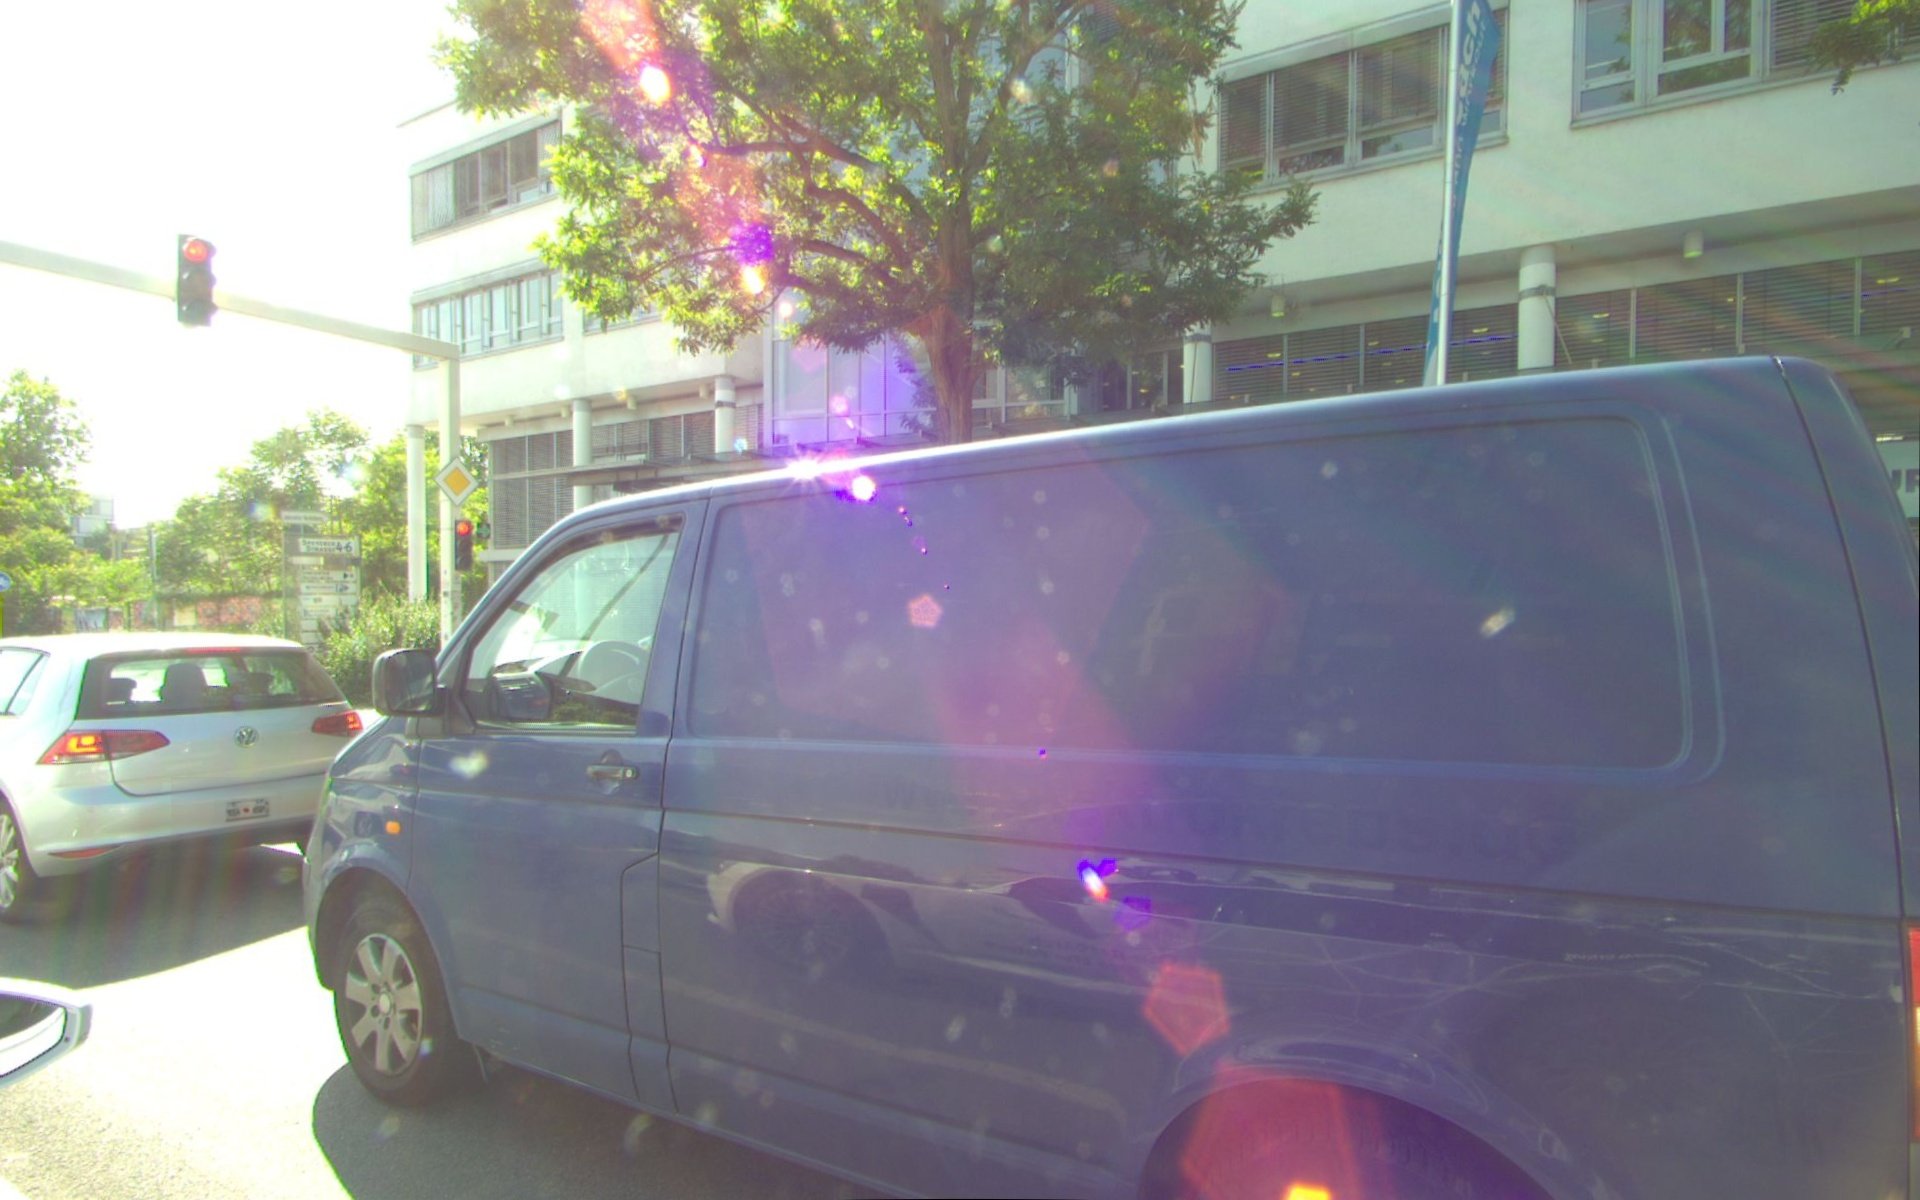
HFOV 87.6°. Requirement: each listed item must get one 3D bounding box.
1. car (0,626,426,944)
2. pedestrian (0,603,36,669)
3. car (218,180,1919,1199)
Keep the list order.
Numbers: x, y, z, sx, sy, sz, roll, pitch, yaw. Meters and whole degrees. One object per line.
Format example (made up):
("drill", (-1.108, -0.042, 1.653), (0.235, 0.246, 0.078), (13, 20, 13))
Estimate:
("car", (-5.468, 0.921, 6.443), (3.941, 1.448, 1.804), (-1, -1, 31))
("pedestrian", (-30.078, 1.117, 31.645), (1.023, 2.040, 1.025), (0, 0, 32))
("car", (-0.088, 0.539, 3.149), (4.821, 1.973, 1.989), (-1, -1, 32))
